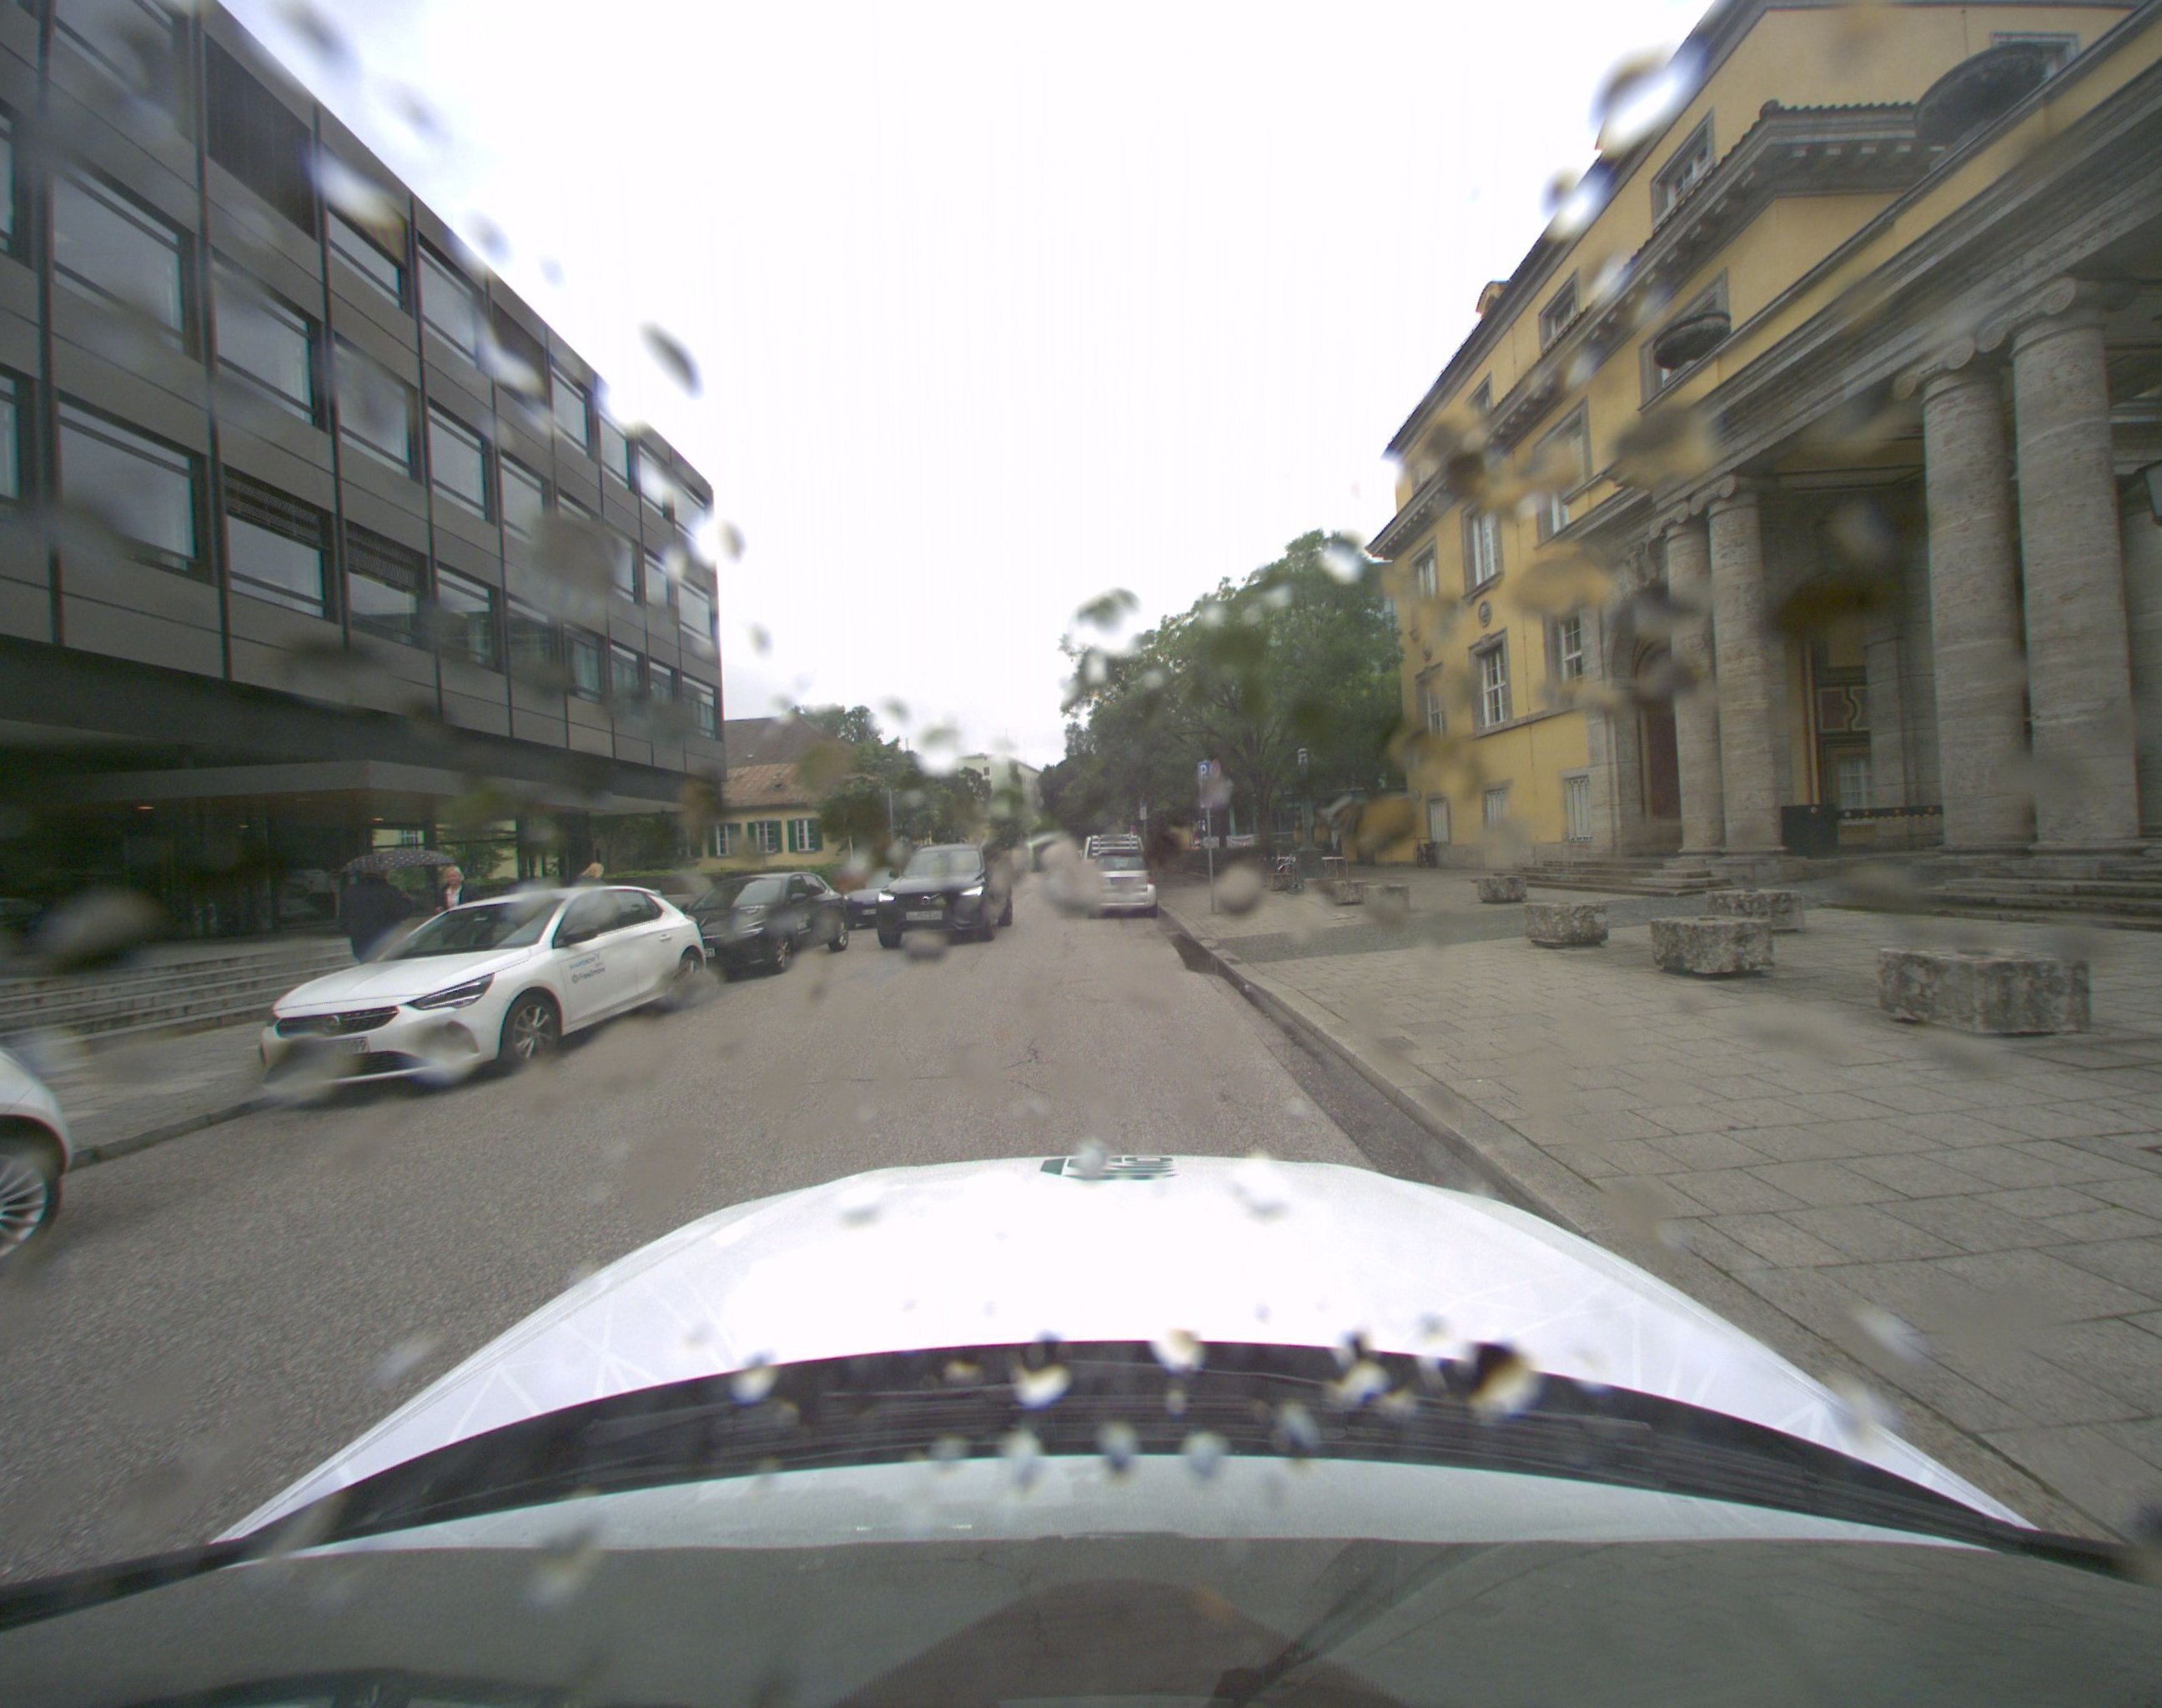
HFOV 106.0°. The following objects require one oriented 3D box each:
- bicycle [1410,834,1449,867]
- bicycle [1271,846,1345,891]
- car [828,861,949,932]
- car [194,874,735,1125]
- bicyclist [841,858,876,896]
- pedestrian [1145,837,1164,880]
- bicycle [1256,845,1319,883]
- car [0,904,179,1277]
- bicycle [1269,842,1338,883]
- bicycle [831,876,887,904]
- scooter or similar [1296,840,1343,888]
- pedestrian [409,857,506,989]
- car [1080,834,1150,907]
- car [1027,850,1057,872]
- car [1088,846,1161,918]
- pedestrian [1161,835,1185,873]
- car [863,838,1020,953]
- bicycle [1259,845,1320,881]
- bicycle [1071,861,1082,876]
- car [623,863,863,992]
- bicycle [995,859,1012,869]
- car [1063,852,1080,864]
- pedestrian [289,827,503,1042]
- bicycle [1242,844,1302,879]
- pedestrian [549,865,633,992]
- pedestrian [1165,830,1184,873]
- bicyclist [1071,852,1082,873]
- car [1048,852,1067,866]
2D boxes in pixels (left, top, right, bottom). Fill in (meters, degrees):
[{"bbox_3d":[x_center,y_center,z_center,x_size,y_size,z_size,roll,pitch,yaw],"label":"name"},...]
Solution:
[{"bbox_3d":[12.628,-0.132,29.579,0.540,1.154,1.901,-4,1,0],"label":"bicycle"},{"bbox_3d":[6.487,0.403,23.274,1.927,1.113,0.471,-4,0,-3],"label":"bicycle"},{"bbox_3d":[-4.784,0.981,21.059,1.917,1.439,4.915,-5,0,-1],"label":"car"},{"bbox_3d":[-5.139,1.053,7.723,1.676,1.440,4.280,-6,0,1],"label":"car"},{"bbox_3d":[-9.068,0.939,33.186,1.083,1.497,0.676,-4,-2,14],"label":"bicyclist"},{"bbox_3d":[3.812,0.228,42.207,0.740,2.134,1.055,-4,0,0],"label":"pedestrian"},{"bbox_3d":[6.972,0.328,27.537,1.924,1.113,0.471,-4,0,2],"label":"bicycle"},{"bbox_3d":[-5.200,1.047,2.153,1.538,1.470,3.553,-5,0,0],"label":"car"},{"bbox_3d":[6.883,0.264,25.233,1.924,1.113,0.471,-4,0,2],"label":"bicycle"},{"bbox_3d":[-9.044,1.468,33.165,2.118,1.004,0.626,-4,-1,13],"label":"bicycle"},{"bbox_3d":[6.430,0.262,21.983,0.541,1.222,0.999,-4,0,-45],"label":"scooter or similar"},{"bbox_3d":[-8.648,0.926,11.330,0.687,1.752,0.892,-1,-1,-4],"label":"pedestrian"},{"bbox_3d":[0.905,0.428,24.513,1.839,1.933,5.271,0,0,-1],"label":"car"},{"bbox_3d":[-3.289,0.577,69.161,2.017,1.689,4.679,-4,0,2],"label":"car"},{"bbox_3d":[0.980,0.608,19.412,1.600,1.546,2.934,-1,0,1],"label":"car"},{"bbox_3d":[4.872,-0.013,43.194,0.735,1.907,1.063,-4,0,36],"label":"pedestrian"},{"bbox_3d":[-2.428,0.653,15.555,1.954,1.681,4.912,-5,0,1],"label":"car"},{"bbox_3d":[7.246,0.302,28.328,1.924,1.113,0.471,-4,0,1],"label":"bicycle"},{"bbox_3d":[-0.297,0.958,53.511,0.624,0.955,1.861,0,-1,2],"label":"bicycle"},{"bbox_3d":[-4.989,0.990,12.760,1.733,1.461,4.239,-5,0,2],"label":"car"},{"bbox_3d":[-7.816,1.006,82.011,1.621,0.926,0.646,-3,-2,-24],"label":"bicycle"},{"bbox_3d":[-1.320,0.546,117.780,1.984,1.486,4.006,-3,0,5],"label":"car"},{"bbox_3d":[-7.079,0.777,8.510,1.132,2.054,1.221,-2,0,-1],"label":"pedestrian"},{"bbox_3d":[7.000,0.275,29.817,2.027,1.113,0.471,-4,0,-3],"label":"bicycle"},{"bbox_3d":[-7.183,1.049,11.978,0.754,1.749,0.948,-3,0,-16],"label":"pedestrian"},{"bbox_3d":[4.819,-0.110,42.044,0.740,2.134,1.055,-4,0,0],"label":"pedestrian"},{"bbox_3d":[-0.313,0.562,53.452,0.702,1.393,0.868,0,-1,1],"label":"bicyclist"},{"bbox_3d":[-2.827,0.672,100.020,1.986,1.603,4.002,-3,-1,2],"label":"car"}]
